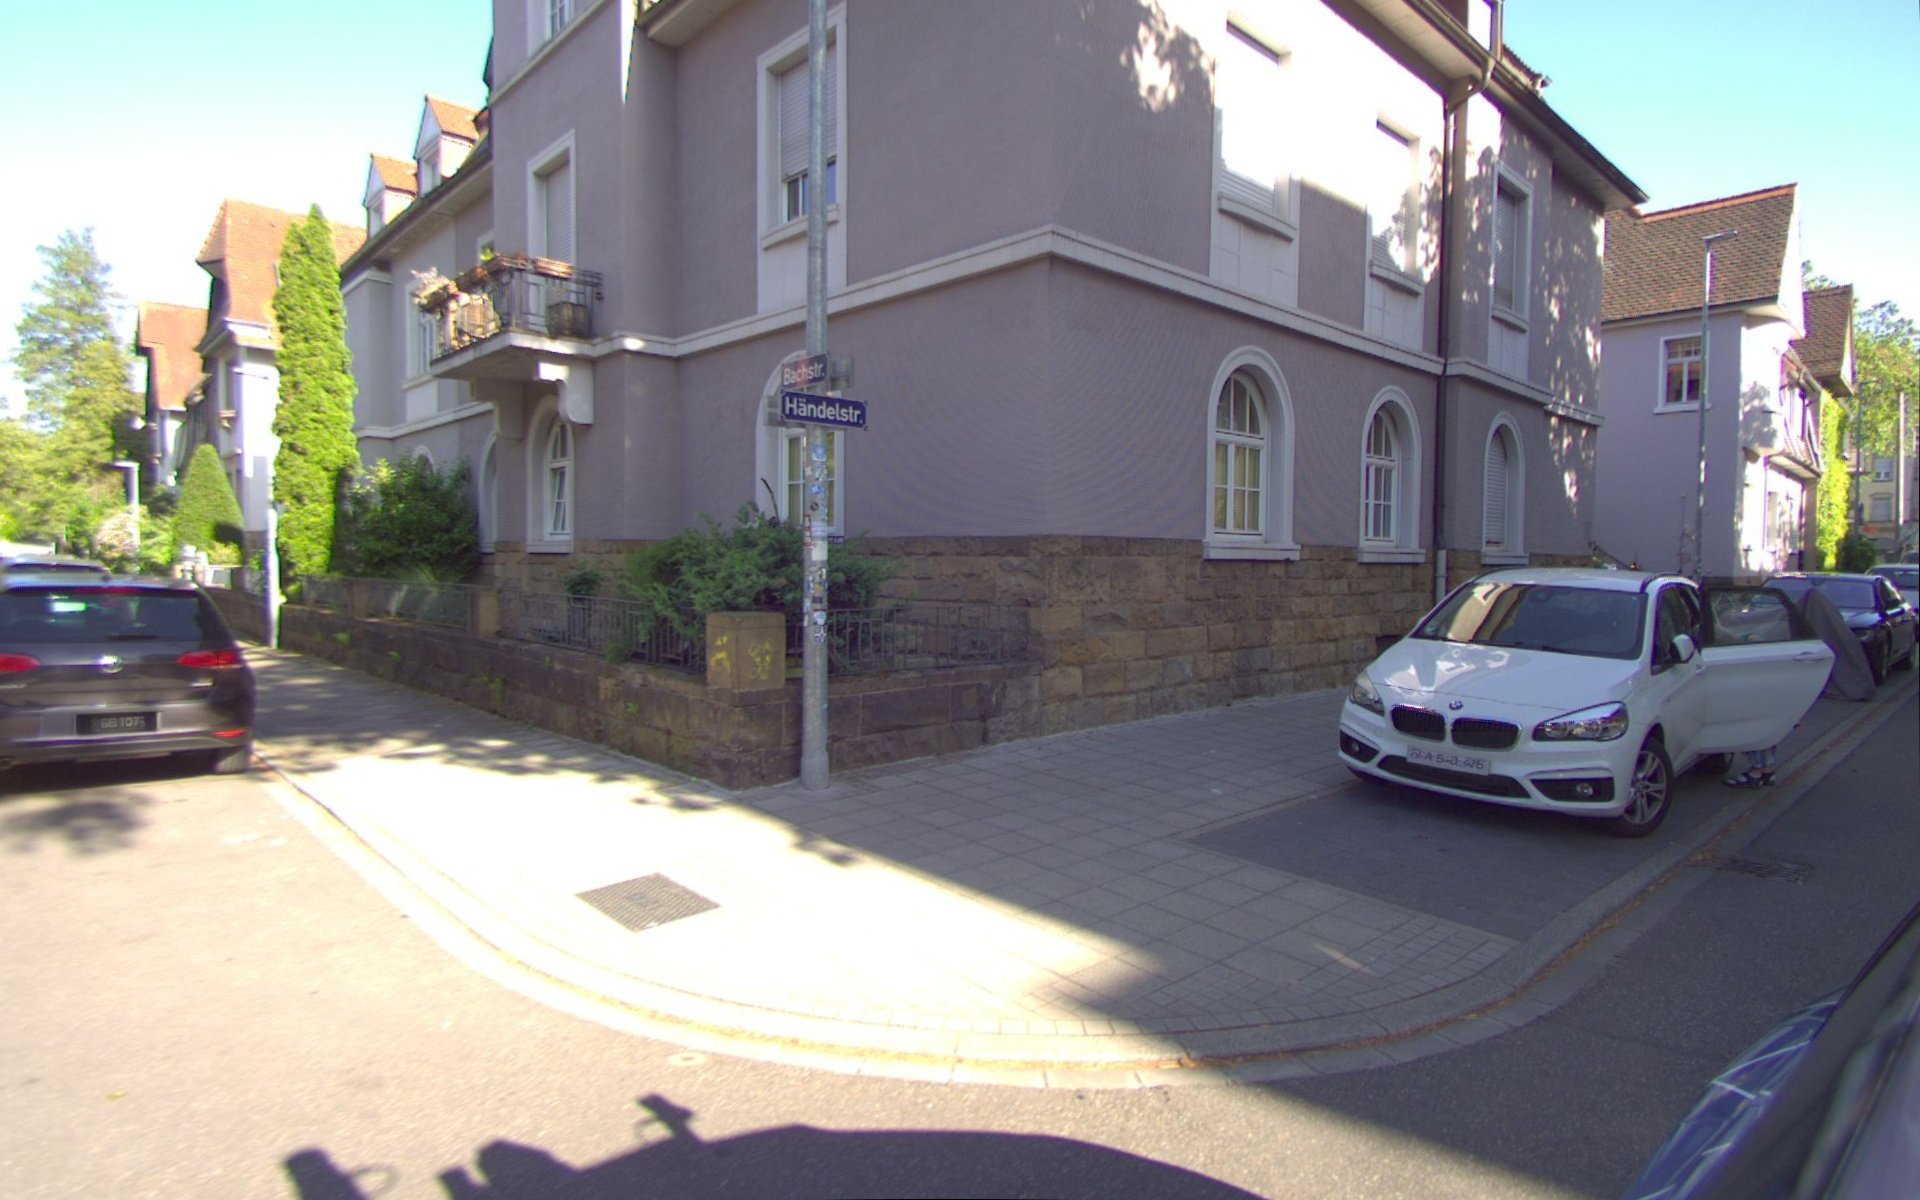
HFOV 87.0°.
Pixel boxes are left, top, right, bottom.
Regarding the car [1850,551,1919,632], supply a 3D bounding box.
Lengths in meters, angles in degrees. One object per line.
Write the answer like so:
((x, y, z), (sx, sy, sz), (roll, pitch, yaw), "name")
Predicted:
((21.192, -0.229, 22.284), (3.931, 1.619, 1.793), (-3, 6, -41), "car")

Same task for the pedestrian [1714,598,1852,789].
((6.096, 0.652, 7.505), (0.723, 1.272, 0.637), (3, 4, 41), "pedestrian")

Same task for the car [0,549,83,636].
((-18.804, -0.213, 20.287), (1.673, 1.607, 3.991), (-1, 2, -43), "car")

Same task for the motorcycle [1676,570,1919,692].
((10.640, 0.325, 12.951), (0.903, 1.355, 2.204), (-1, 3, -30), "motorcycle")

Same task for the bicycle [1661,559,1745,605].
((18.610, -0.473, 25.361), (0.389, 1.114, 1.638), (-2, 3, -43), "bicycle")

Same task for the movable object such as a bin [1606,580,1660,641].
((12.345, 0.178, 18.562), (0.815, 1.052, 0.648), (-2, 4, -44), "movable object such as a bin")

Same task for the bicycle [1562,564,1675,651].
((11.284, 0.080, 17.319), (2.213, 1.354, 1.084), (-2, 4, -43), "bicycle")

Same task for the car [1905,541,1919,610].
((29.453, -0.725, 29.792), (4.701, 1.938, 1.869), (-2, 5, -42), "car")

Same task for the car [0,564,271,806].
((-6.852, 0.471, 7.978), (1.726, 1.464, 3.991), (1, 1, -43), "car")

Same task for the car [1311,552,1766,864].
((4.347, 0.474, 7.311), (4.087, 1.557, 1.702), (-3, 6, -44), "car")

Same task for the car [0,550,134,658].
((-14.681, -0.008, 16.431), (1.673, 1.554, 3.991), (1, 1, -43), "car")

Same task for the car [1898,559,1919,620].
((25.361, -0.304, 25.961), (4.367, 1.475, 1.680), (-3, 4, -45), "car")

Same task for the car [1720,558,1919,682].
((13.184, 0.168, 15.226), (4.528, 1.511, 1.858), (-2, 5, -41), "car")
